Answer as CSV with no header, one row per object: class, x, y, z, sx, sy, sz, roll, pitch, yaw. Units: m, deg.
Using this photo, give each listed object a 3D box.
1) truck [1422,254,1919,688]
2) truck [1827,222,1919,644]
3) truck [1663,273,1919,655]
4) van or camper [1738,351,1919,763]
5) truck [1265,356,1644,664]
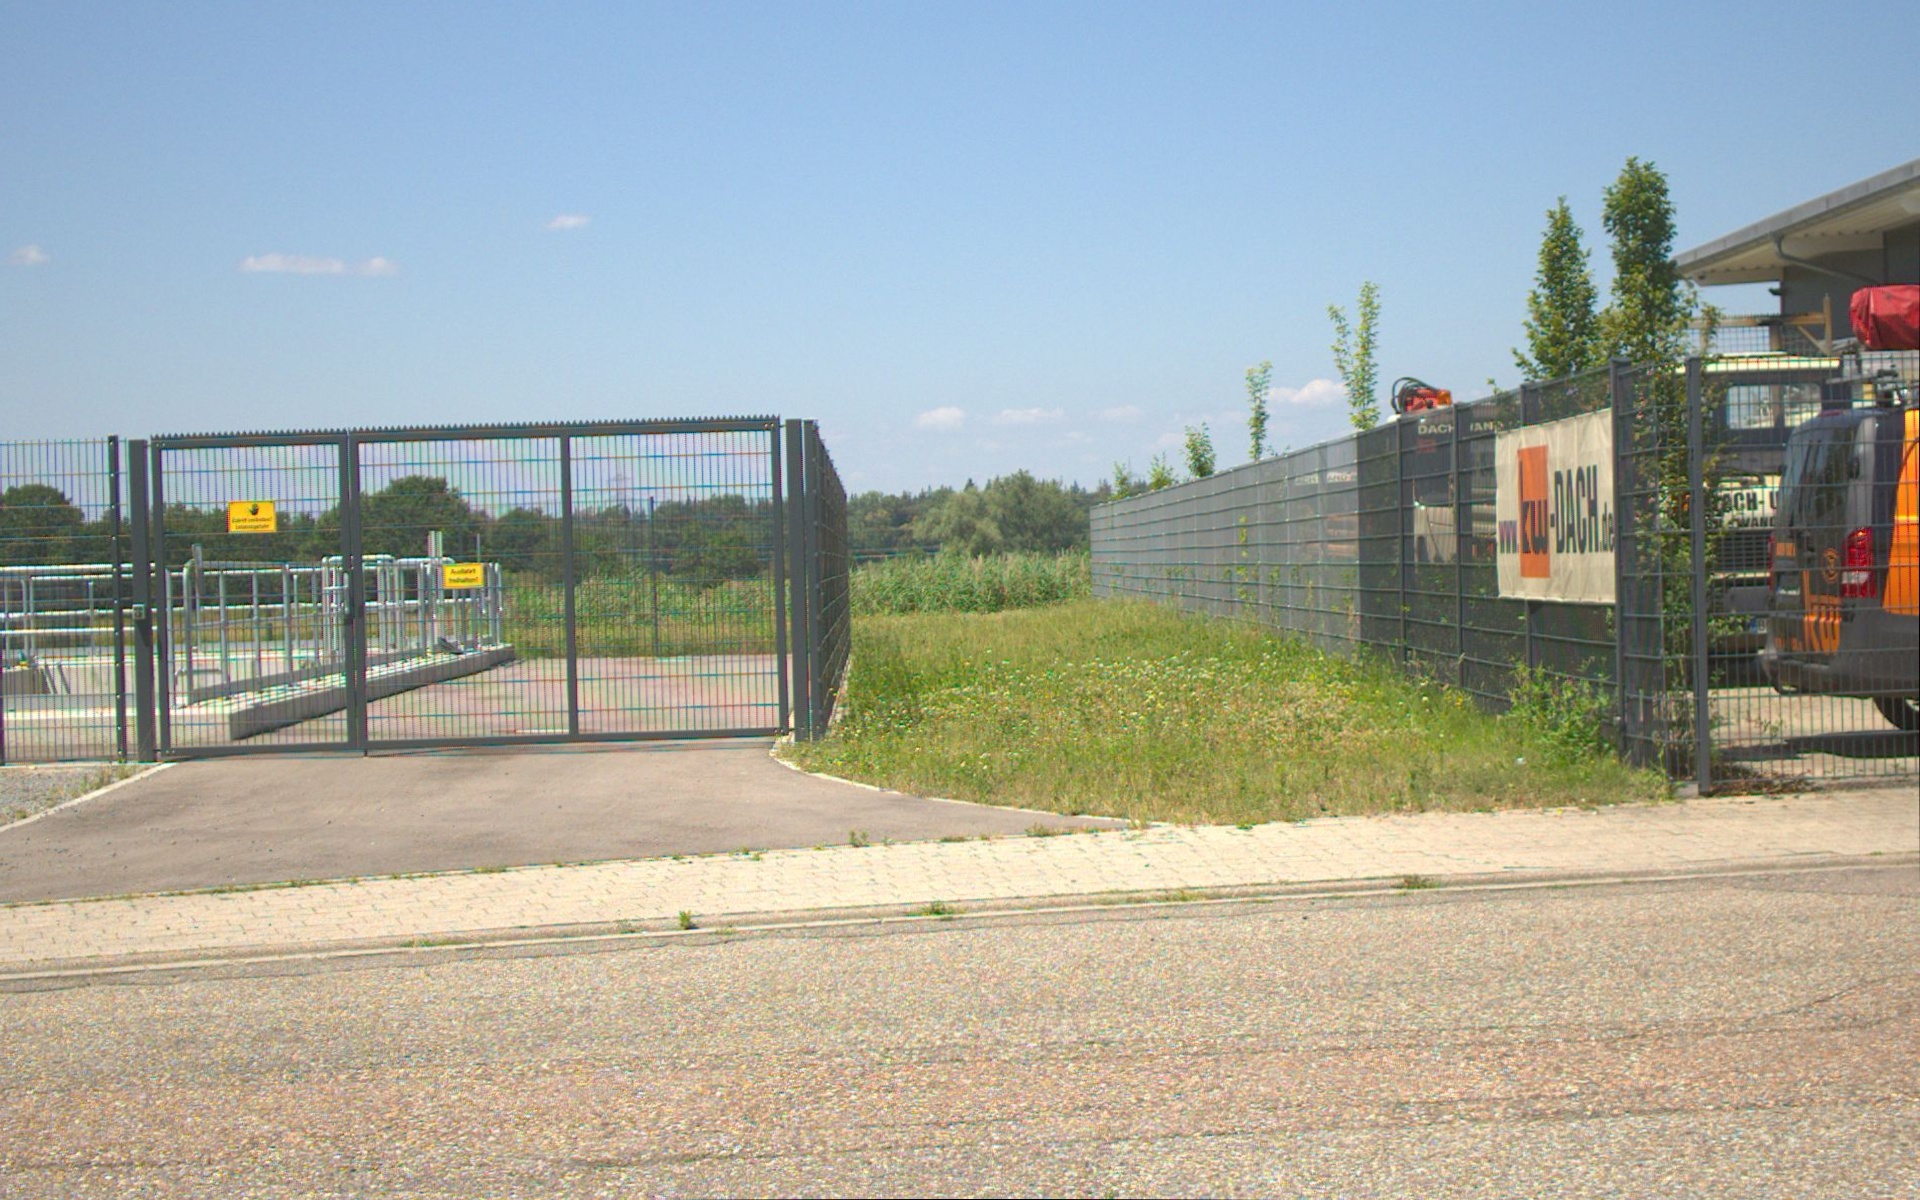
truck,5.722,-0.985,28.297,2.726,3.051,6.936,-2,1,-1
truck,10.390,-1.578,31.540,2.921,3.916,6.936,-2,1,-1
truck,10.247,-1.488,39.022,2.921,3.916,6.936,-2,1,-1
van or camper,7.045,-0.329,19.091,4.936,2.156,2.000,-2,2,0
truck,5.147,-0.933,37.127,2.921,2.928,6.936,-2,1,-1
